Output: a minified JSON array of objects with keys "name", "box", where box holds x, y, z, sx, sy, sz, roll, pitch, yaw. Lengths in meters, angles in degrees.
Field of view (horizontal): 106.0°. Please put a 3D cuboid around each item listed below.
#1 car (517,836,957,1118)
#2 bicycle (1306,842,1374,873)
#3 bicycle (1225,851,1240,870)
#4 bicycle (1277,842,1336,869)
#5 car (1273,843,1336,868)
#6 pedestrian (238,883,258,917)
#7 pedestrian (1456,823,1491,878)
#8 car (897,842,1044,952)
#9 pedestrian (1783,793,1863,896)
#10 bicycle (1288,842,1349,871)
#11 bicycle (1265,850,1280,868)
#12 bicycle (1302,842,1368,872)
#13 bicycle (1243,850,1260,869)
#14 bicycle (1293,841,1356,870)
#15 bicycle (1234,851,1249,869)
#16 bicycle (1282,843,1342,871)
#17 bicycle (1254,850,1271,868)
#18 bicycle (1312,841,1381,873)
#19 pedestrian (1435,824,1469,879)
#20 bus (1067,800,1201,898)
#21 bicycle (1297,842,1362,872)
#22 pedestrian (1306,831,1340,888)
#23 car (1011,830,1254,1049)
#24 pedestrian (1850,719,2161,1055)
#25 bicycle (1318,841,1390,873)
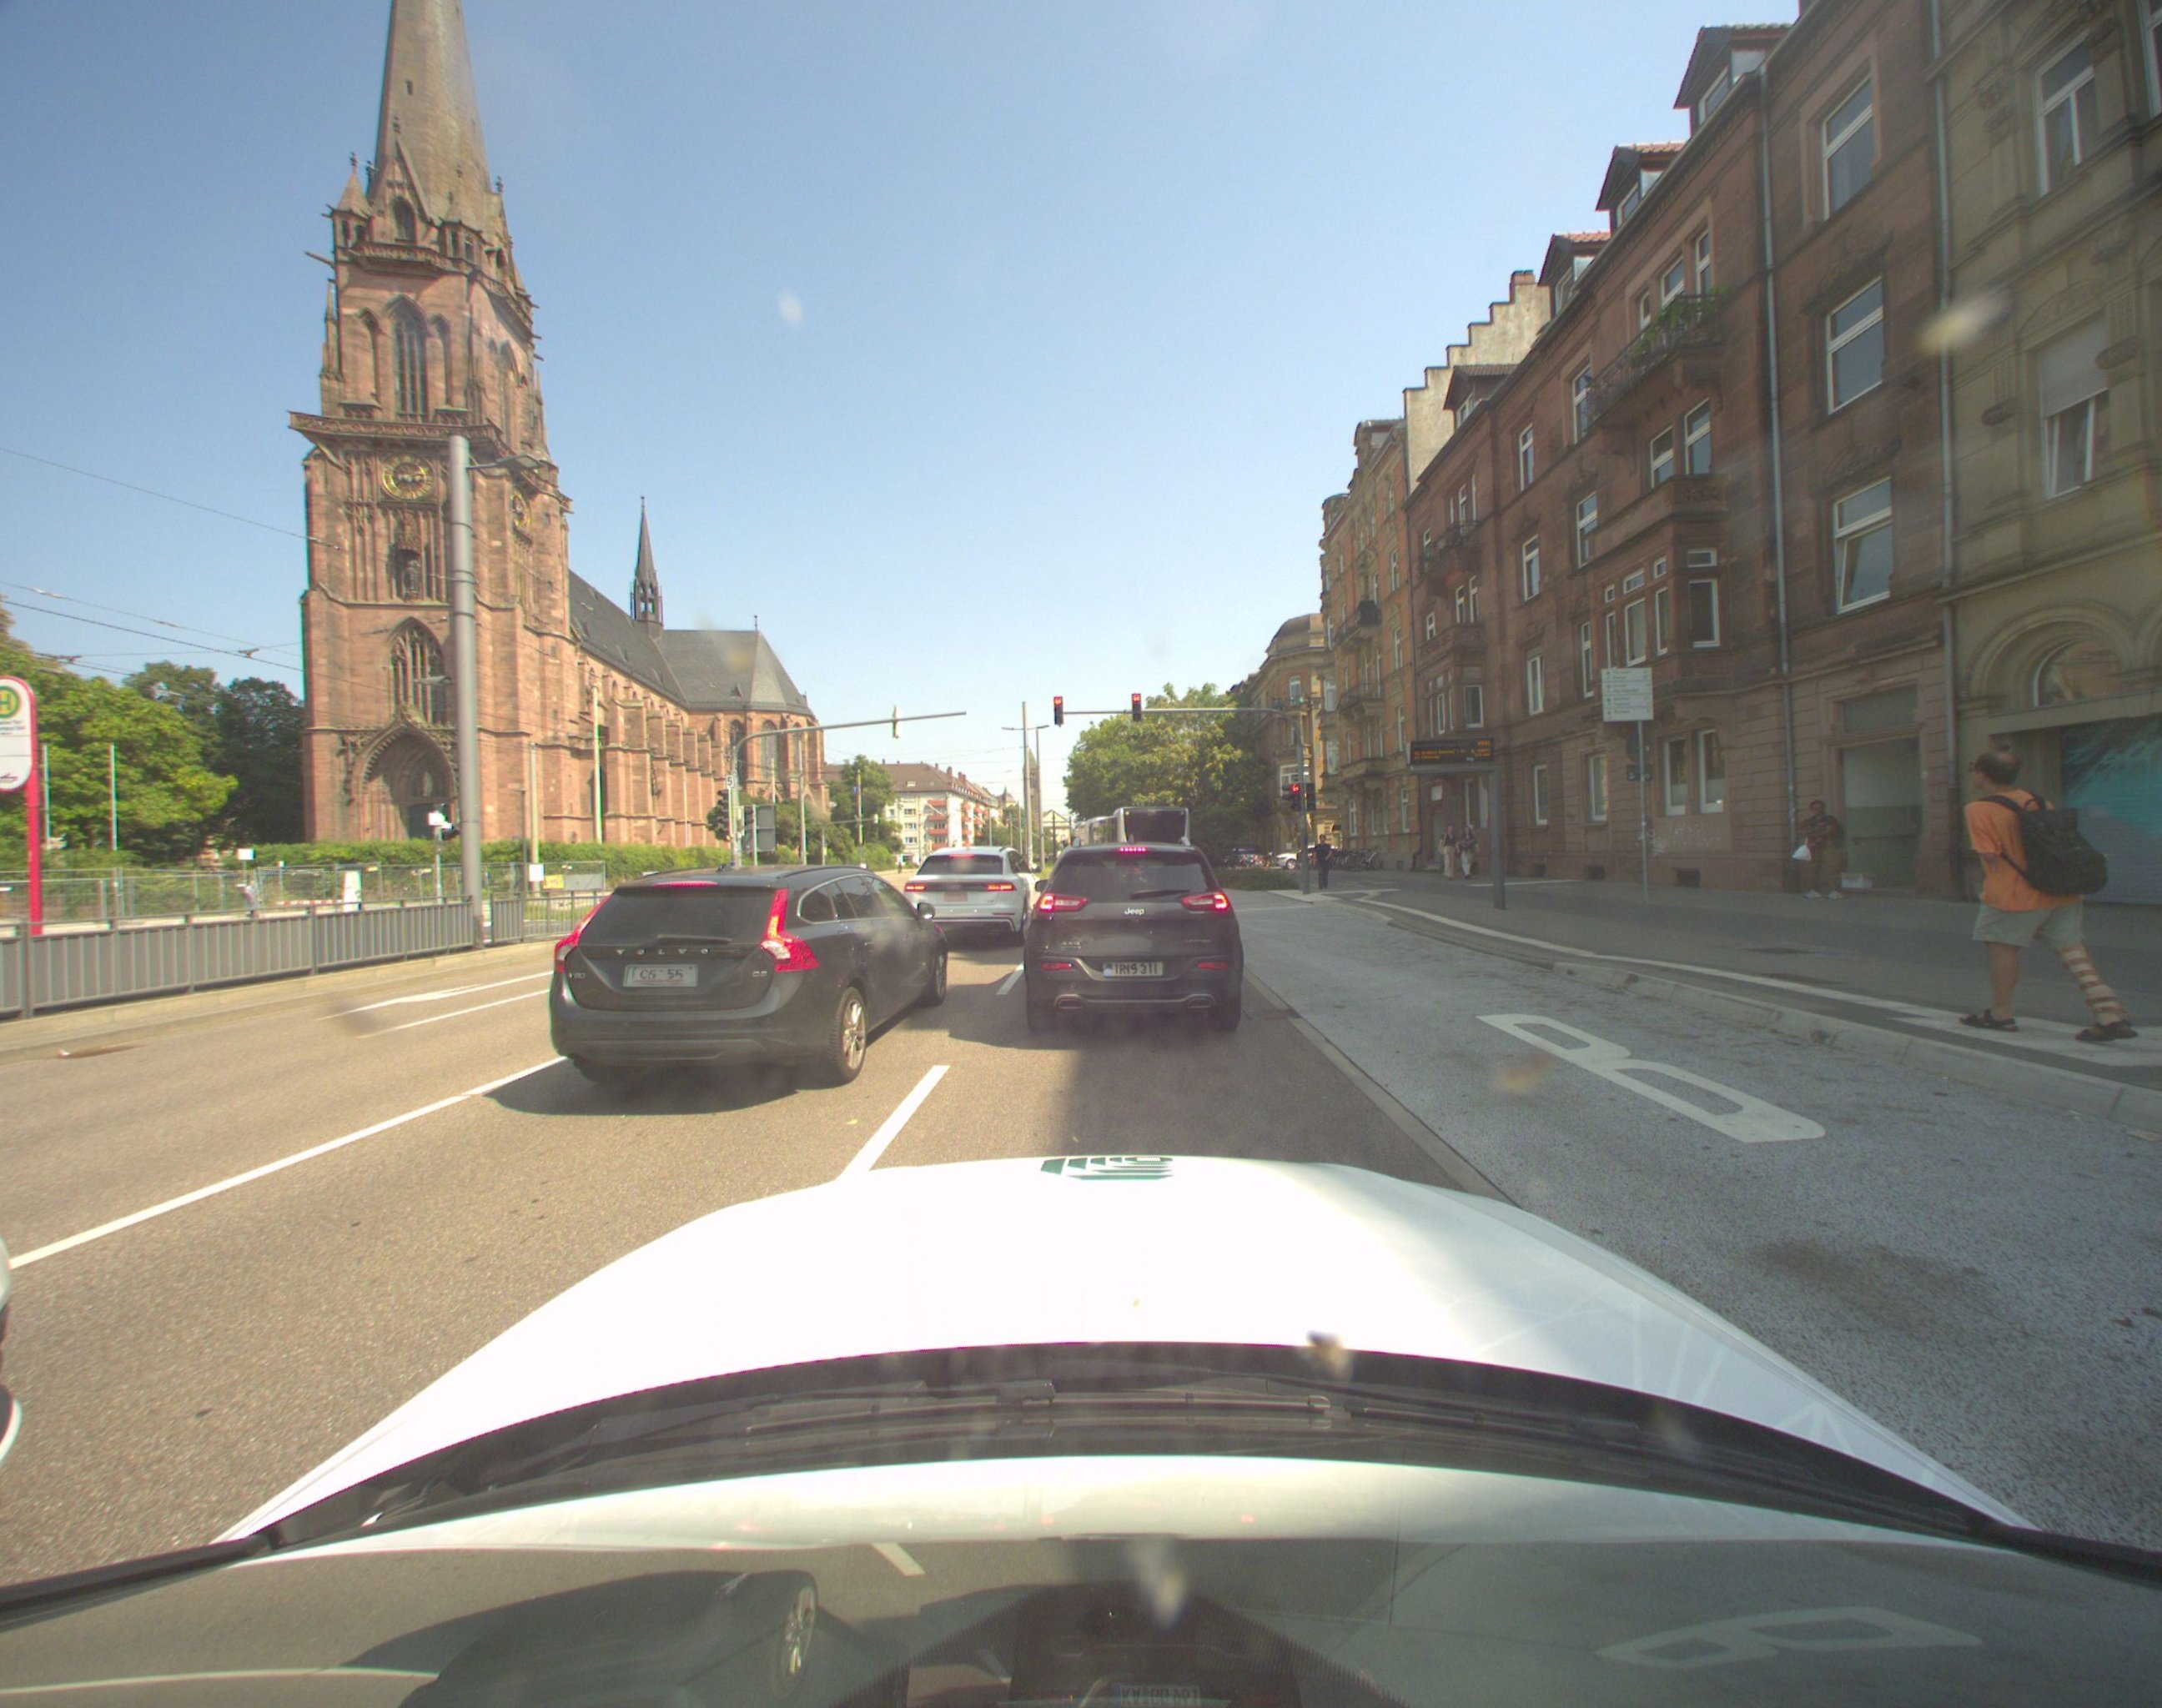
[{"name":"car","box":[-2.333,0.711,6.889,1.741,1.614,4.310,-1,0,2]},{"name":"bicycle","box":[12.597,0.177,39.672,2.983,1.371,0.871,-2,0,1]},{"name":"bicycle","box":[10.839,0.446,58.382,0.646,1.253,3.017,-2,0,4]},{"name":"bicycle","box":[12.722,0.100,46.030,2.993,1.373,0.948,-2,0,1]},{"name":"car","box":[15.686,0.099,57.271,3.926,1.521,1.679,-2,0,-6]},{"name":"pedestrian","box":[-38.087,2.111,37.248,0.430,1.531,0.548,-3,0,36]},{"name":"pedestrian","box":[13.040,-0.104,27.077,0.712,1.778,0.870,-2,0,0]},{"name":"car","box":[-1.794,0.653,14.692,1.895,1.651,4.310,-1,0,2]},{"name":"pedestrian","box":[13.265,-0.166,14.564,0.872,1.778,0.737,-2,0,-26]},{"name":"bicycle","box":[12.724,0.138,43.669,2.993,1.373,0.948,-2,0,1]},{"name":"bicycle","box":[13.793,0.323,58.733,0.655,1.249,2.415,-2,0,4]},{"name":"bicycle","box":[12.650,0.141,40.619,2.983,1.371,0.871,-2,0,1]},{"name":"bicycle","box":[12.192,0.389,58.323,0.729,1.253,3.017,-2,0,4]},{"name":"bicycle","box":[12.727,0.088,42.658,2.993,1.373,0.948,-2,0,1]},{"name":"bicycle","box":[11.496,0.416,58.341,0.646,1.253,3.017,-2,0,4]},{"name":"bicycle","box":[12.731,0.164,44.987,2.993,1.373,0.948,-2,0,1]},{"name":"bicycle","box":[12.979,0.357,58.319,0.759,1.253,3.017,-2,0,4]},{"name":"bicycle","box":[12.605,0.160,38.759,2.983,1.371,0.871,-2,0,1]},{"name":"pedestrian","box":[12.312,-0.082,27.058,0.711,1.776,0.848,-2,0,1]},{"name":"bus","box":[1.691,-0.080,33.168,2.743,3.107,11.918,-4,0,-9]},{"name":"bicycle","box":[12.682,0.149,41.563,2.993,1.373,0.948,-2,0,1]},{"name":"pedestrian","box":[7.765,0.177,26.174,0.893,1.741,0.770,-4,-1,10]},{"name":"car","box":[0.506,0.645,8.353,1.825,1.651,4.312,-1,0,3]},{"name":"pedestrian","box":[5.629,0.170,4.851,0.958,1.741,1.242,-2,0,9]},{"name":"bicycle","box":[12.668,0.130,37.850,2.983,1.371,0.871,-2,0,1]}]
